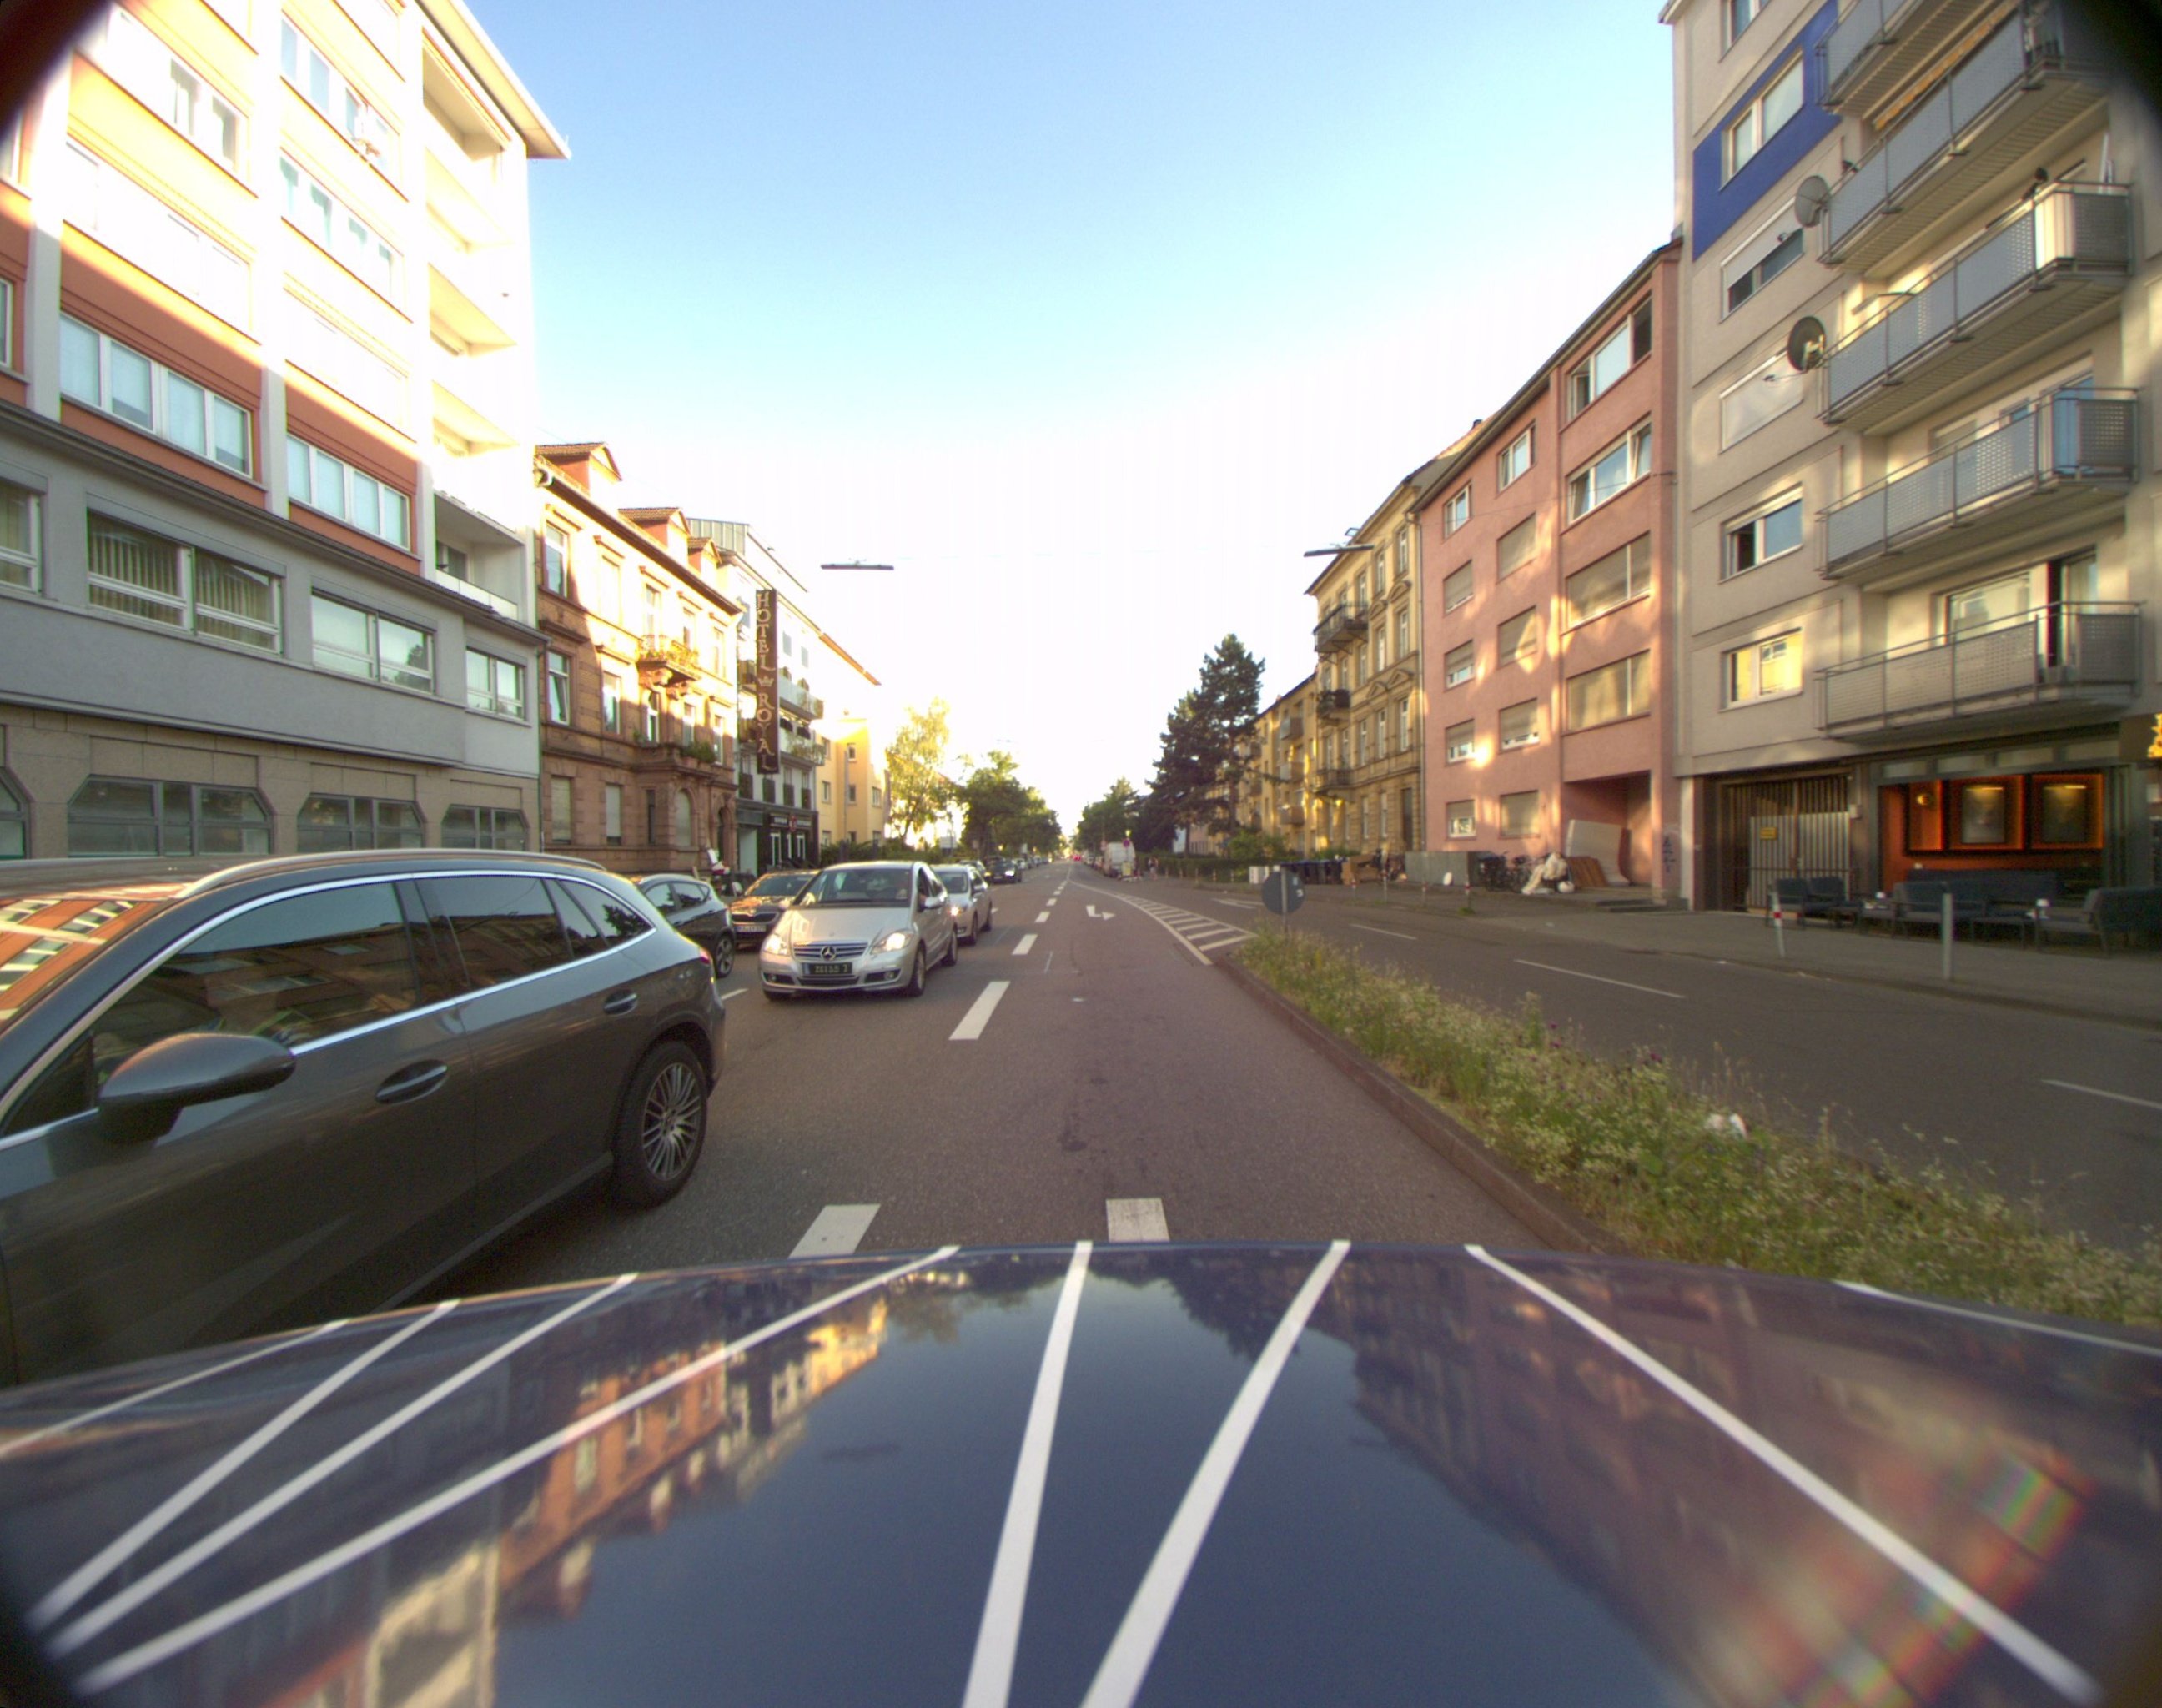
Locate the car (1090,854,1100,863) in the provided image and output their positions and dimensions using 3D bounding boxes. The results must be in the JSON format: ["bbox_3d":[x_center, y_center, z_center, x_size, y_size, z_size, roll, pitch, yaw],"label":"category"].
[{"bbox_3d":[2.420,0.729,131.781,1.684,1.434,3.881,-2,0,1],"label":"car"}]

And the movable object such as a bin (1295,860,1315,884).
[{"bbox_3d":[10.504,0.832,35.689,0.643,1.104,0.582,-4,2,-31],"label":"movable object such as a bin"}]

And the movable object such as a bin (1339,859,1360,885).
[{"bbox_3d":[11.849,0.773,33.509,0.643,1.104,0.582,-4,2,-31],"label":"movable object such as a bin"}]

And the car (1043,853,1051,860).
[{"bbox_3d":[-8.112,0.632,182.701,1.798,1.558,3.672,0,0,0],"label":"car"}]

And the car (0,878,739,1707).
[{"bbox_3d":[-2.766,0.956,1.945,1.788,1.623,4.478,-1,0,-1],"label":"car"}]

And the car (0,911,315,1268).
[{"bbox_3d":[-5.607,1.121,3.084,1.493,1.497,3.478,-1,0,-1],"label":"car"}]

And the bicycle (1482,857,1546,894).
[{"bbox_3d":[13.065,0.642,22.944,1.675,1.035,0.549,-2,1,-7],"label":"bicycle"}]

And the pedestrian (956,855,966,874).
[{"bbox_3d":[-10.380,0.920,65.914,0.748,1.606,0.579,-1,1,-2],"label":"pedestrian"}]

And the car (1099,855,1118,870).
[{"bbox_3d":[2.696,0.831,74.831,1.721,1.443,3.923,-2,0,-1],"label":"car"}]

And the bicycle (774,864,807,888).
[{"bbox_3d":[-14.257,1.086,37.323,1.427,1.104,0.488,2,0,-18],"label":"bicycle"}]

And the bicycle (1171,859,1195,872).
[{"bbox_3d":[7.989,0.879,59.365,1.763,0.976,0.590,-2,1,1],"label":"bicycle"}]

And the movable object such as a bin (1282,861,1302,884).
[{"bbox_3d":[10.071,0.883,36.274,0.643,1.062,0.626,-4,2,-31],"label":"movable object such as a bin"}]

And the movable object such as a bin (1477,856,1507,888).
[{"bbox_3d":[13.744,0.596,25.400,0.676,1.026,0.589,-1,1,-1],"label":"movable object such as a bin"}]

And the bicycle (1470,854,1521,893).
[{"bbox_3d":[12.962,0.598,23.748,1.677,1.153,0.495,-2,1,-26],"label":"bicycle"}]

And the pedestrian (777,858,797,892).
[{"bbox_3d":[-14.375,1.017,37.123,0.709,1.633,0.693,-1,0,-1],"label":"pedestrian"}]

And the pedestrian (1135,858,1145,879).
[{"bbox_3d":[4.038,0.983,51.939,0.560,1.370,0.480,-2,1,-6],"label":"pedestrian"}]

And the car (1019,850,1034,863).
[{"bbox_3d":[-7.530,0.333,105.033,1.921,1.672,4.706,1,0,-2],"label":"car"}]

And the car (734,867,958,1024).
[{"bbox_3d":[-2.746,0.987,9.761,1.808,1.559,3.618,-1,0,-1],"label":"car"}]

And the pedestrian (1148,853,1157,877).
[{"bbox_3d":[4.853,0.743,51.727,0.481,1.642,0.725,-1,1,-7],"label":"pedestrian"}]

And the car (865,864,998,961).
[{"bbox_3d":[-2.738,1.009,14.891,1.712,1.501,4.308,-2,0,0],"label":"car"}]

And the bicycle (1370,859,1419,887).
[{"bbox_3d":[12.922,0.773,31.362,1.653,0.961,0.662,-6,1,-2],"label":"bicycle"}]

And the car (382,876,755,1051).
[{"bbox_3d":[-5.744,1.099,9.297,1.655,1.476,4.239,-2,0,0],"label":"car"}]

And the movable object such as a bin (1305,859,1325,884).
[{"bbox_3d":[10.830,0.815,35.128,0.643,1.104,0.582,-4,2,-31],"label":"movable object such as a bin"}]

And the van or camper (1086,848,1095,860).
[{"bbox_3d":[2.120,0.054,169.692,1.918,2.528,5.334,-1,0,0],"label":"van or camper"}]

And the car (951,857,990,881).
[{"bbox_3d":[-7.517,1.012,52.212,1.860,1.503,4.834,1,0,1],"label":"car"}]

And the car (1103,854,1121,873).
[{"bbox_3d":[2.690,0.781,65.647,1.407,1.539,2.762,-3,0,1],"label":"car"}]

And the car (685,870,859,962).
[{"bbox_3d":[-5.838,1.095,14.947,1.712,1.448,4.158,-1,0,0],"label":"car"}]

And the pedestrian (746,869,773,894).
[{"bbox_3d":[-13.613,1.166,32.222,0.692,1.037,0.945,-1,0,3],"label":"pedestrian"}]

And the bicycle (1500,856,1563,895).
[{"bbox_3d":[13.107,0.613,22.115,1.676,1.035,0.549,-2,1,-15],"label":"bicycle"}]

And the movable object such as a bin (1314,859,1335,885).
[{"bbox_3d":[11.043,0.804,34.494,0.643,1.104,0.582,-4,2,-31],"label":"movable object such as a bin"}]

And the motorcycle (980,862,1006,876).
[{"bbox_3d":[-6.952,1.178,59.963,1.932,1.065,0.819,-1,1,-12],"label":"motorcycle"}]

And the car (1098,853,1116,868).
[{"bbox_3d":[2.923,0.730,86.022,1.781,1.579,4.185,-2,0,0],"label":"car"}]

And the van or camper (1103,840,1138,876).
[{"bbox_3d":[3.090,0.271,60.697,2.041,2.648,6.013,-3,0,-3],"label":"van or camper"}]

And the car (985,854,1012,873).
[{"bbox_3d":[-7.374,0.800,68.237,1.953,1.645,4.795,-1,0,-1],"label":"car"}]

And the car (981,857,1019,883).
[{"bbox_3d":[-5.000,0.949,47.341,1.999,1.525,3.999,-1,0,-2],"label":"car"}]

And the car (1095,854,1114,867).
[{"bbox_3d":[2.804,0.742,91.016,1.999,1.439,4.457,0,0,-1],"label":"car"}]

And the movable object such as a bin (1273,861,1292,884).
[{"bbox_3d":[9.780,0.909,36.876,0.643,1.077,0.582,-4,2,-31],"label":"movable object such as a bin"}]

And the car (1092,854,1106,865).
[{"bbox_3d":[2.435,0.734,103.415,1.842,1.508,4.315,-2,0,0],"label":"car"}]

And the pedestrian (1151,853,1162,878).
[{"bbox_3d":[5.083,0.788,51.004,0.606,1.642,0.696,-1,1,-7],"label":"pedestrian"}]

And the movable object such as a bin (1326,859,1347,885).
[{"bbox_3d":[11.423,0.795,34.021,0.643,1.104,0.582,-4,2,-31],"label":"movable object such as a bin"}]
